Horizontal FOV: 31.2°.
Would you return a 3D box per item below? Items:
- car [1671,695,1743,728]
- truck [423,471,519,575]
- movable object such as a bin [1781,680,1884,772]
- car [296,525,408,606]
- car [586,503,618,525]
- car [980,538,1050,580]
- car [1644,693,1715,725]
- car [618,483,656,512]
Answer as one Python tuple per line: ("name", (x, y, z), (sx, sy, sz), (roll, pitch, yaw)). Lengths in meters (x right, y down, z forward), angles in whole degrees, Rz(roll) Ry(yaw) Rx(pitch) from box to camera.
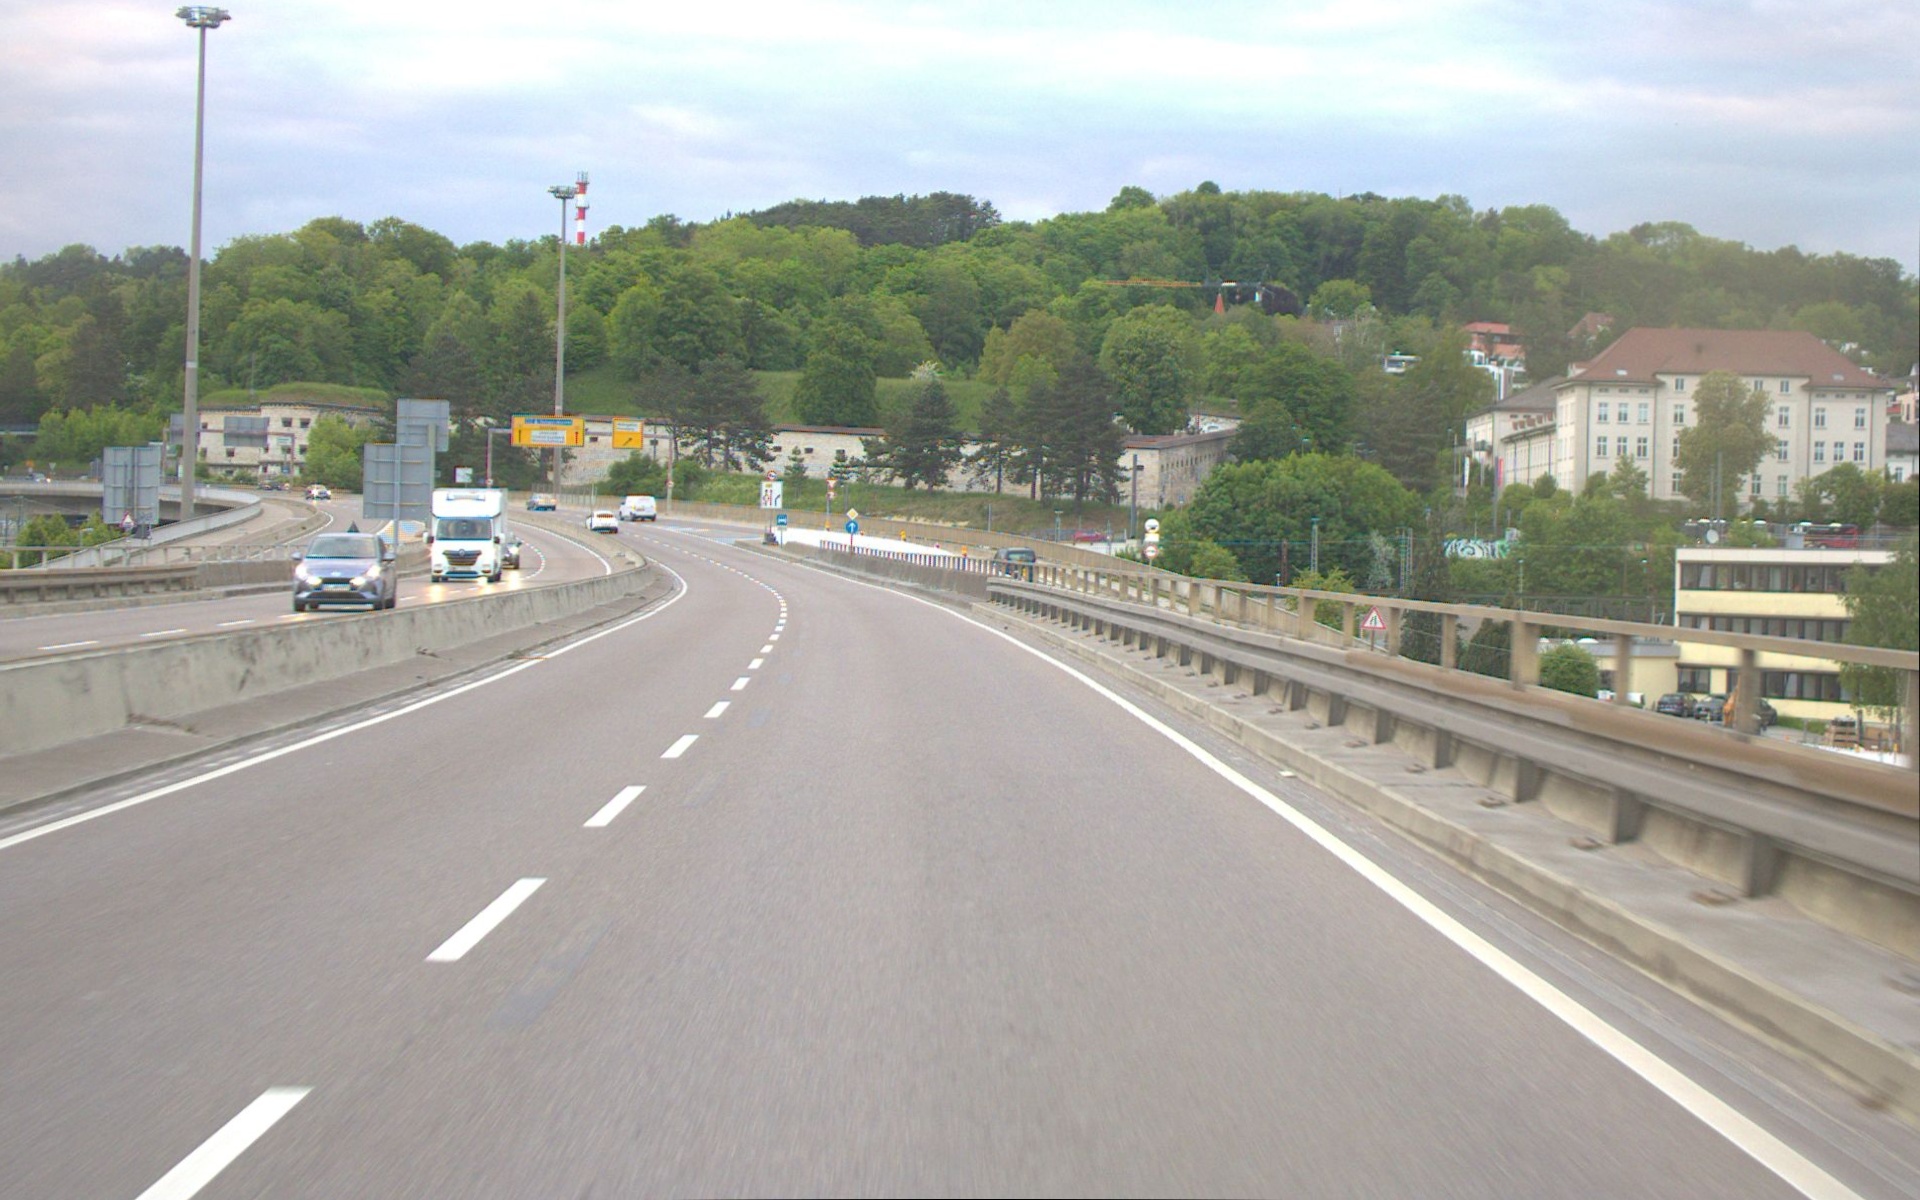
("car", (43.944, 6.558, 202.201), (3.987, 1.560, 1.832), (5, 3, -37))
("truck", (-16.019, -2.503, 112.980), (2.534, 3.285, 7.447), (1, 1, -4))
("movable object such as a bin", (46.883, 6.742, 184.782), (2.774, 4.295, 4.959), (7, 0, -16))
("car", (-11.562, -0.677, 65.555), (1.628, 1.436, 3.837), (1, 2, -3))
("car", (-23.861, -5.733, 228.980), (1.630, 1.383, 4.002), (0, 3, -13))
("car", (2.558, -1.942, 160.997), (2.304, 1.757, 4.264), (2, 2, -12))
("car", (42.958, 6.503, 205.350), (3.987, 1.560, 1.832), (5, 3, -37))
("car", (-24.569, -7.782, 261.569), (1.993, 2.006, 4.110), (1, 3, -17))
